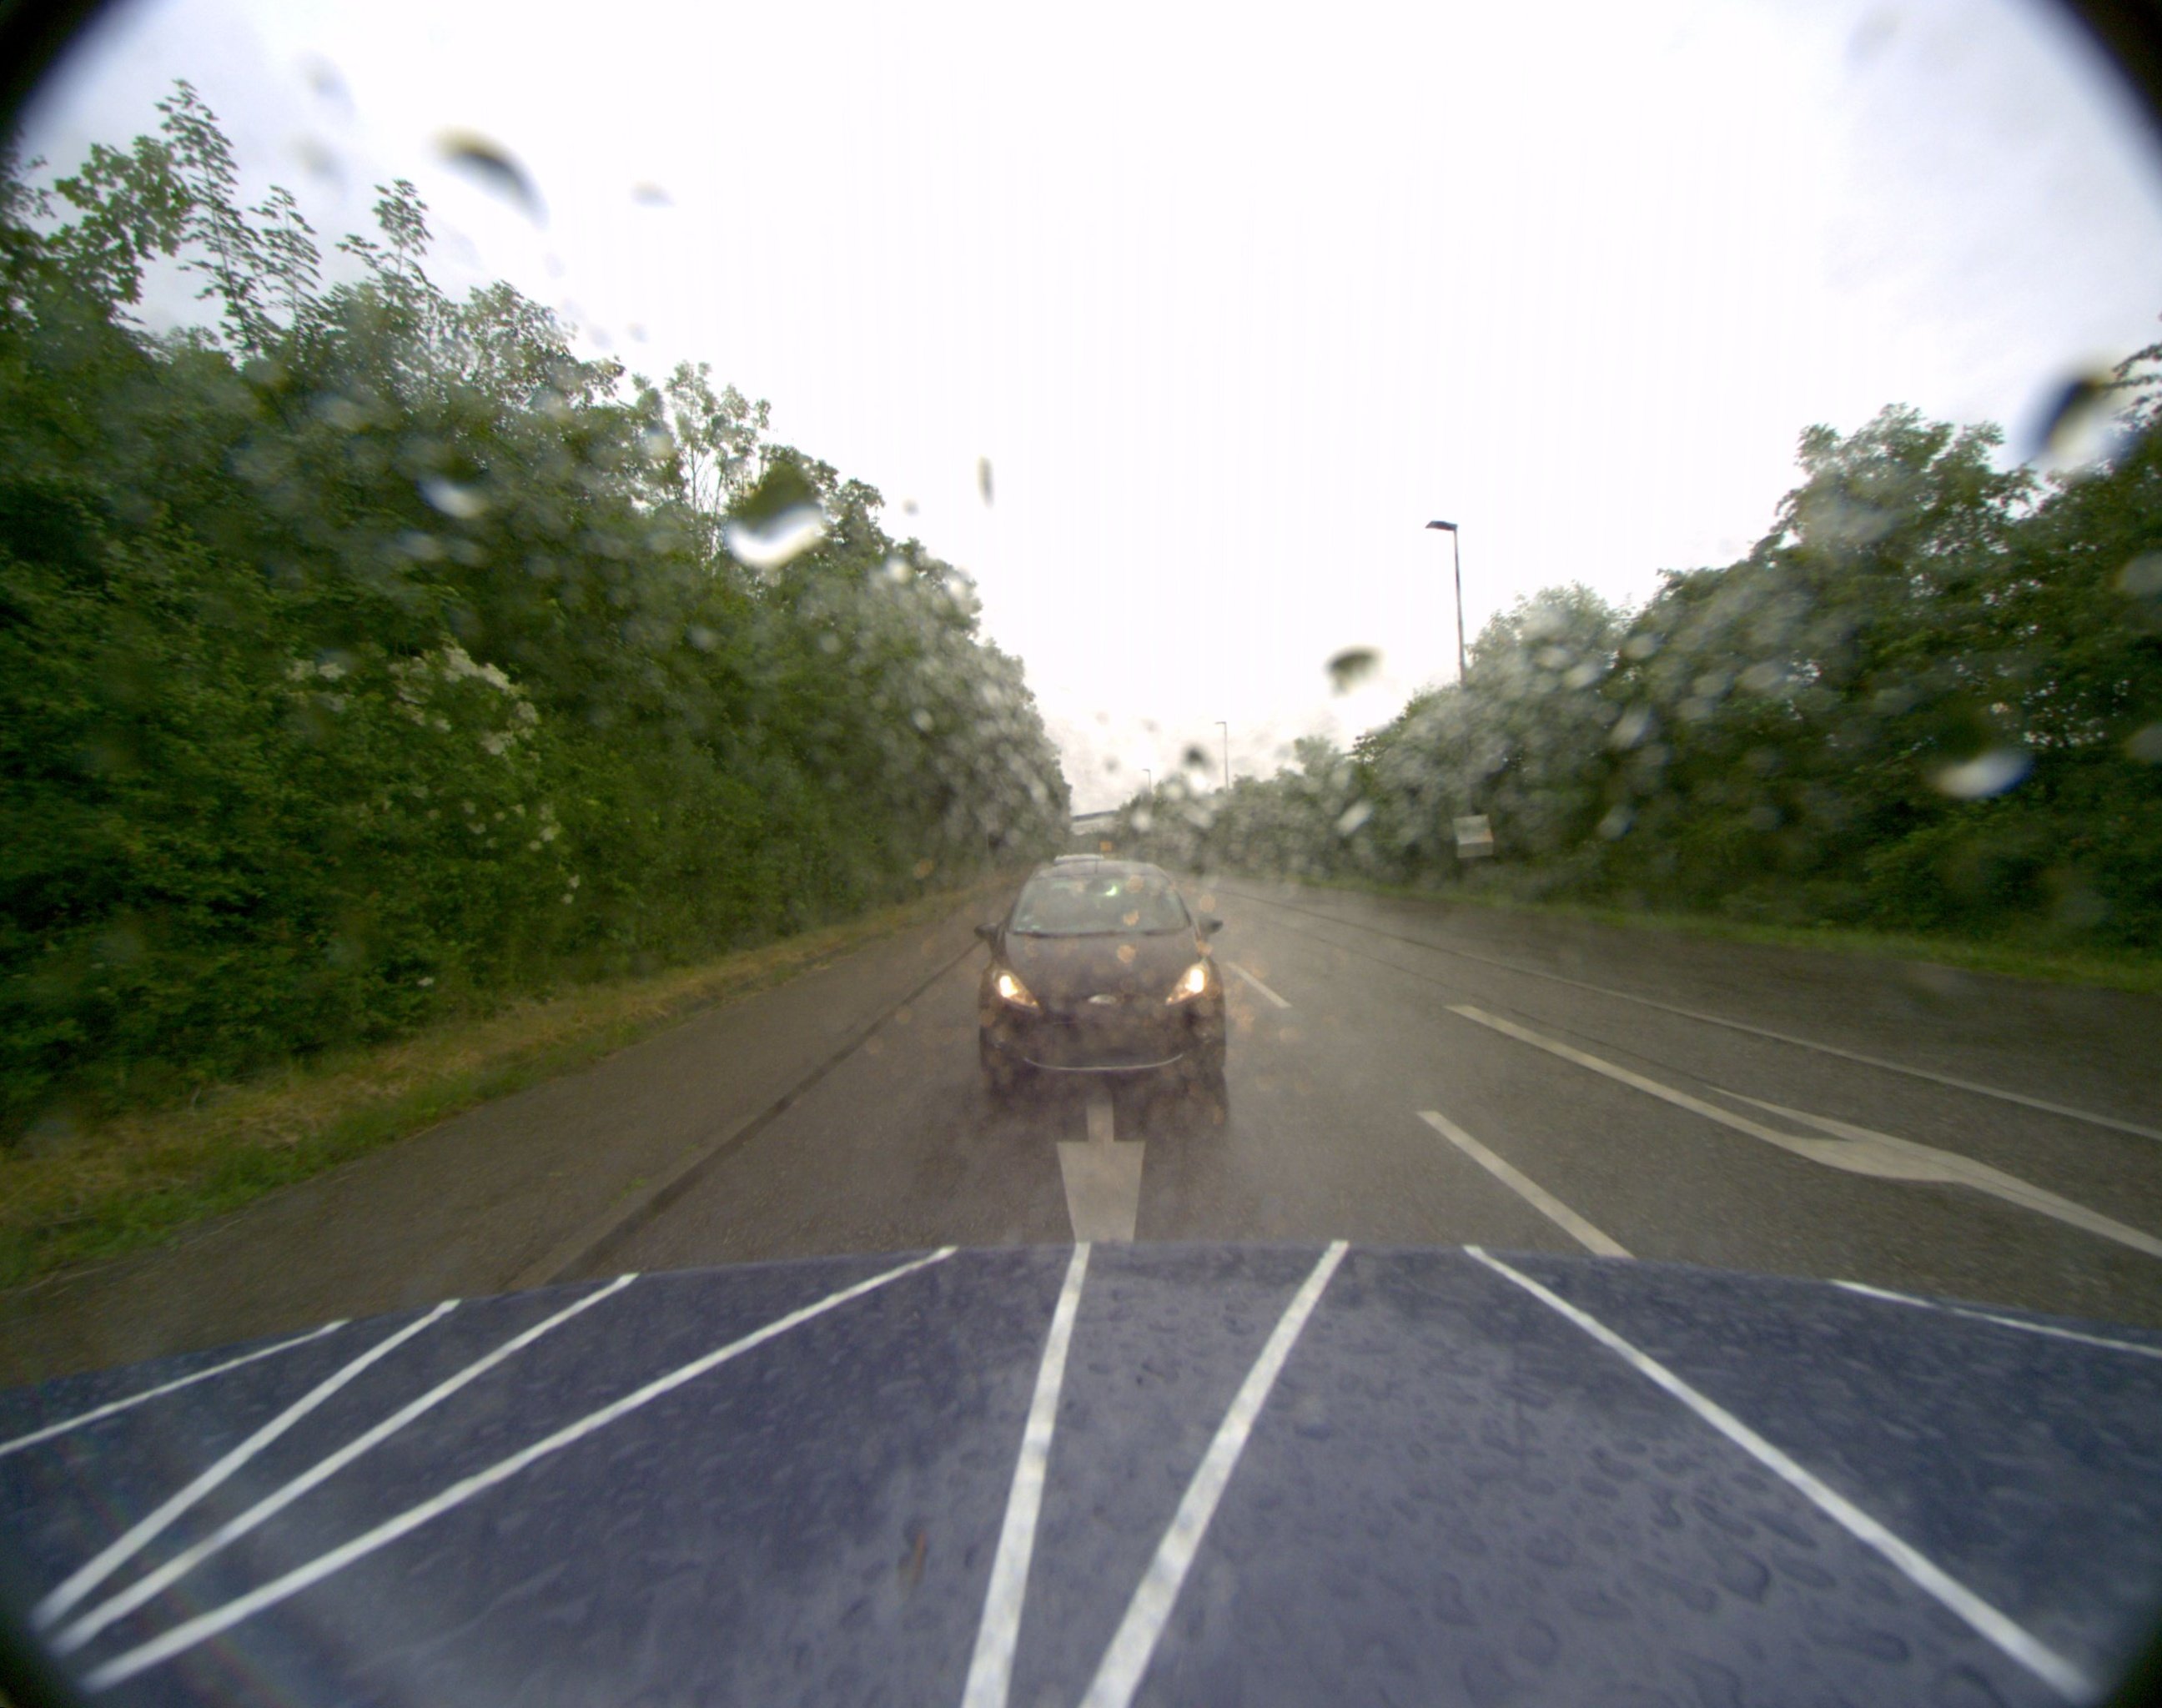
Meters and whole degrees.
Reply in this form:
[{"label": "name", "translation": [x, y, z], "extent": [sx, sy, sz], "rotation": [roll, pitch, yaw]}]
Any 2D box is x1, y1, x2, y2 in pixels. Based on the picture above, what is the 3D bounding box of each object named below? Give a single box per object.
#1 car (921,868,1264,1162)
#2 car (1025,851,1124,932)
[{"label": "car", "translation": [0.089, 0.927, 6.329], "extent": [1.839, 1.404, 4.342], "rotation": [-2, 1, 1]}, {"label": "car", "translation": [-0.113, 0.777, 17.808], "extent": [1.998, 1.576, 3.999], "rotation": [-2, 1, 1]}]
